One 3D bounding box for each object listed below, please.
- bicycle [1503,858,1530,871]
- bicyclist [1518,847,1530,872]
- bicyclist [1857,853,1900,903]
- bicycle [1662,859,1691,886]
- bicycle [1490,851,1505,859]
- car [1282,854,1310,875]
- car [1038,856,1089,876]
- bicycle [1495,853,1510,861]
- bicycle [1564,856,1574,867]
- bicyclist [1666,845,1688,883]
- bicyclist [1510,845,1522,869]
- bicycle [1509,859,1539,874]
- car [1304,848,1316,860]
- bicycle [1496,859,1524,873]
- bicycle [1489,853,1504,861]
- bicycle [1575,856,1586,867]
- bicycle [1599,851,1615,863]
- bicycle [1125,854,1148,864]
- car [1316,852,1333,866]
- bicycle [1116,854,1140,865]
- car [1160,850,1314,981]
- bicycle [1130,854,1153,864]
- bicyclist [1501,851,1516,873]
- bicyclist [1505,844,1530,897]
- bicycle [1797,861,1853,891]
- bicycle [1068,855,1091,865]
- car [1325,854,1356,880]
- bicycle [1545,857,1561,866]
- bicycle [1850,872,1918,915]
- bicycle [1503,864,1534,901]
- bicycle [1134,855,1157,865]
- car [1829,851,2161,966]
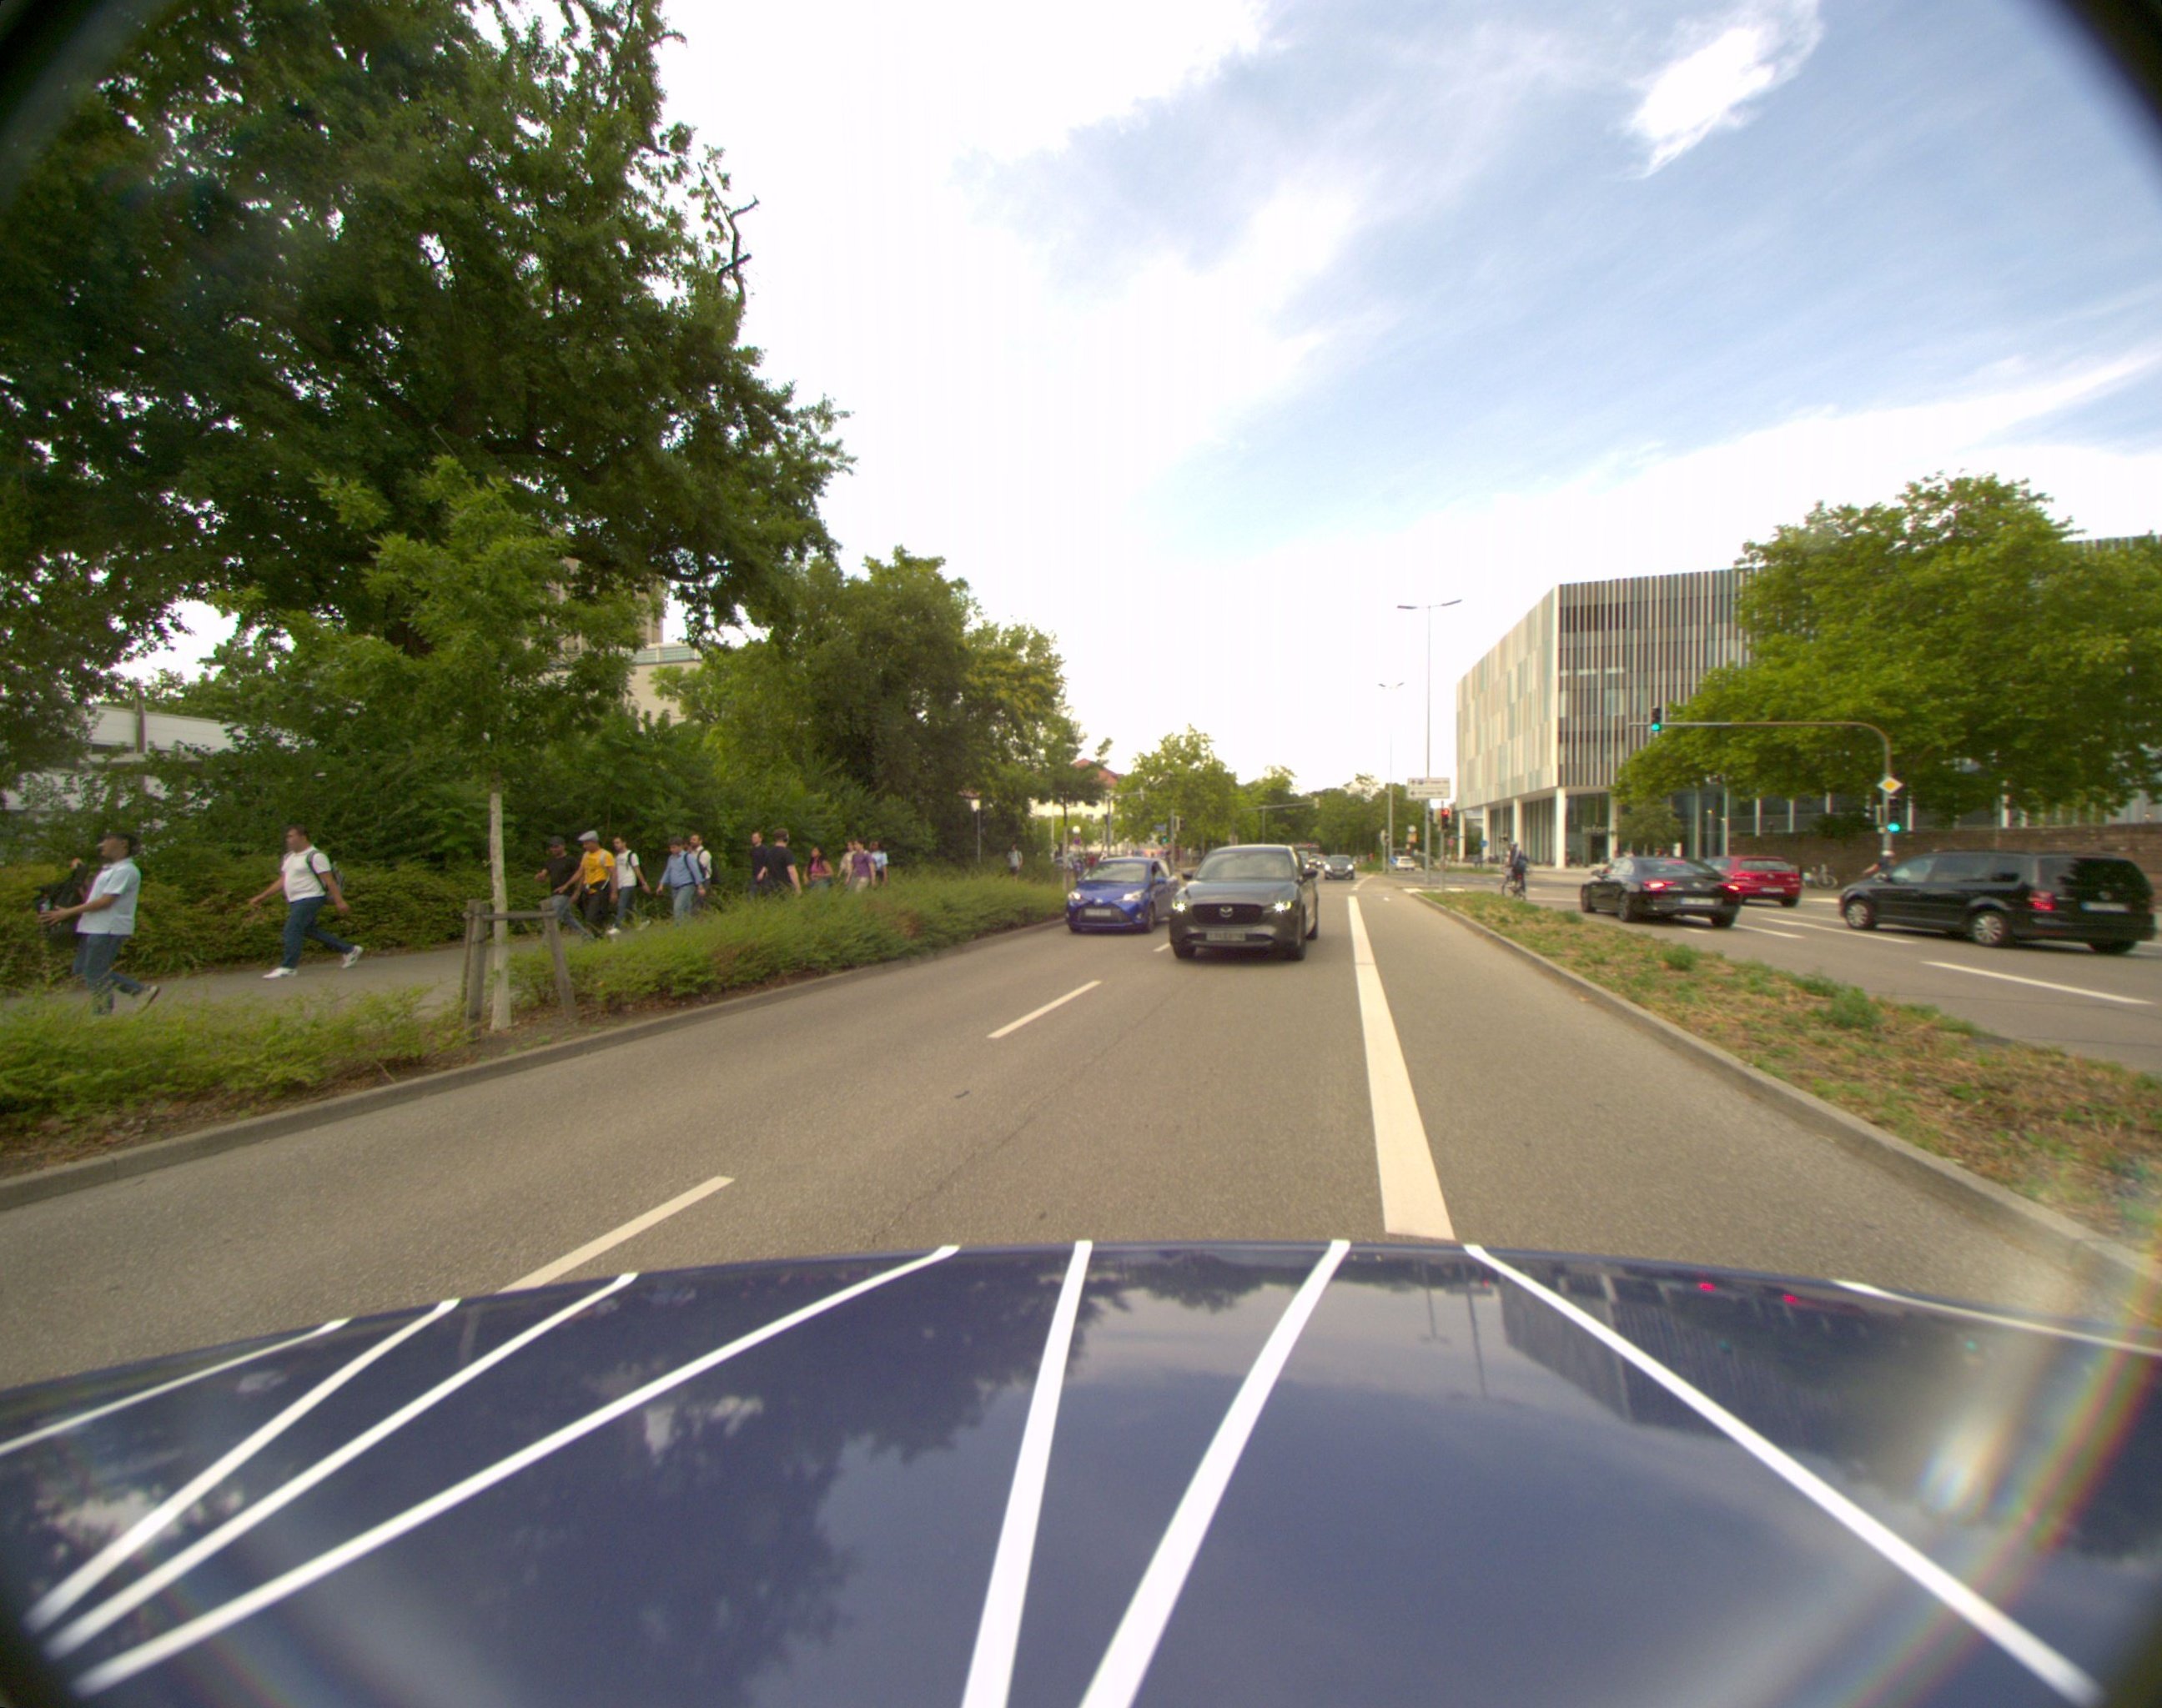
[{"bbox_3d":[33.491,0.804,58.459,1.690,0.983,0.571,0,1,2],"label":"bicycle"},{"bbox_3d":[33.055,0.406,56.692,0.601,1.796,0.562,0,1,1],"label":"bicyclist"},{"bbox_3d":[23.314,0.692,22.222,0.580,1.411,0.812,0,1,22],"label":"bicyclist"},{"bbox_3d":[28.476,0.875,36.357,0.619,1.210,2.048,0,0,24],"label":"bicycle"},{"bbox_3d":[53.921,0.123,98.355,1.580,1.017,0.390,-2,0,11],"label":"bicycle"},{"bbox_3d":[16.363,0.794,57.961,1.659,1.455,4.003,-2,0,10],"label":"car"},{"bbox_3d":[-1.353,0.937,58.536,3.576,1.483,1.676,0,1,15],"label":"car"},{"bbox_3d":[53.549,0.374,96.467,1.580,1.017,0.390,-2,0,11],"label":"bicycle"},{"bbox_3d":[47.891,0.738,74.577,1.601,0.932,0.393,-2,0,-41],"label":"bicycle"},{"bbox_3d":[28.400,0.476,36.222,0.618,1.772,0.812,0,1,24],"label":"bicyclist"},{"bbox_3d":[33.442,0.252,58.447,0.601,1.796,0.562,-2,1,2],"label":"bicyclist"},{"bbox_3d":[33.079,0.933,56.732,1.894,1.163,0.607,0,1,1],"label":"bicycle"},{"bbox_3d":[37.165,0.043,123.281,1.863,1.871,4.005,0,0,18],"label":"car"},{"bbox_3d":[34.044,0.942,60.278,1.821,0.983,0.729,-2,1,2],"label":"bicycle"},{"bbox_3d":[54.141,0.380,99.045,1.580,1.017,0.390,-2,0,11],"label":"bicycle"},{"bbox_3d":[48.436,0.728,73.671,1.601,0.932,0.393,-2,0,-41],"label":"bicycle"},{"bbox_3d":[48.927,0.253,70.726,1.548,1.023,0.393,-2,0,-21],"label":"bicycle"},{"bbox_3d":[6.183,0.522,84.974,2.468,1.136,0.718,0,1,17],"label":"bicycle"},{"bbox_3d":[28.524,0.577,89.008,1.659,1.455,4.004,-2,0,14],"label":"car"},{"bbox_3d":[5.060,0.609,81.615,2.468,1.136,0.718,0,1,17],"label":"bicycle"},{"bbox_3d":[2.640,0.789,11.963,1.902,1.639,4.651,-1,0,17],"label":"car"},{"bbox_3d":[6.797,0.536,85.723,2.468,1.136,0.718,0,1,17],"label":"bicycle"},{"bbox_3d":[33.909,0.623,60.278,0.728,1.663,0.724,-2,1,2],"label":"bicyclist"},{"bbox_3d":[13.209,0.486,23.005,0.572,1.565,0.700,0,1,23],"label":"bicyclist"},{"bbox_3d":[30.391,0.870,31.064,0.578,1.119,2.167,-3,0,14],"label":"bicycle"},{"bbox_3d":[-0.124,0.664,85.843,2.468,1.136,0.718,0,1,17],"label":"bicycle"},{"bbox_3d":[15.875,0.765,46.395,1.658,1.455,4.006,-2,0,21],"label":"car"},{"bbox_3d":[47.651,0.758,76.647,1.612,0.932,0.393,-2,0,-17],"label":"bicycle"},{"bbox_3d":[23.294,1.120,22.078,0.582,1.164,1.967,0,0,22],"label":"bicycle"},{"bbox_3d":[13.256,0.851,23.033,0.574,1.049,1.929,0,0,23],"label":"bicycle"},{"bbox_3d":[7.314,0.674,86.489,2.468,1.136,0.718,0,1,17],"label":"bicycle"},{"bbox_3d":[16.062,0.815,13.550,1.804,1.656,4.304,2,1,12],"label":"car"}]
